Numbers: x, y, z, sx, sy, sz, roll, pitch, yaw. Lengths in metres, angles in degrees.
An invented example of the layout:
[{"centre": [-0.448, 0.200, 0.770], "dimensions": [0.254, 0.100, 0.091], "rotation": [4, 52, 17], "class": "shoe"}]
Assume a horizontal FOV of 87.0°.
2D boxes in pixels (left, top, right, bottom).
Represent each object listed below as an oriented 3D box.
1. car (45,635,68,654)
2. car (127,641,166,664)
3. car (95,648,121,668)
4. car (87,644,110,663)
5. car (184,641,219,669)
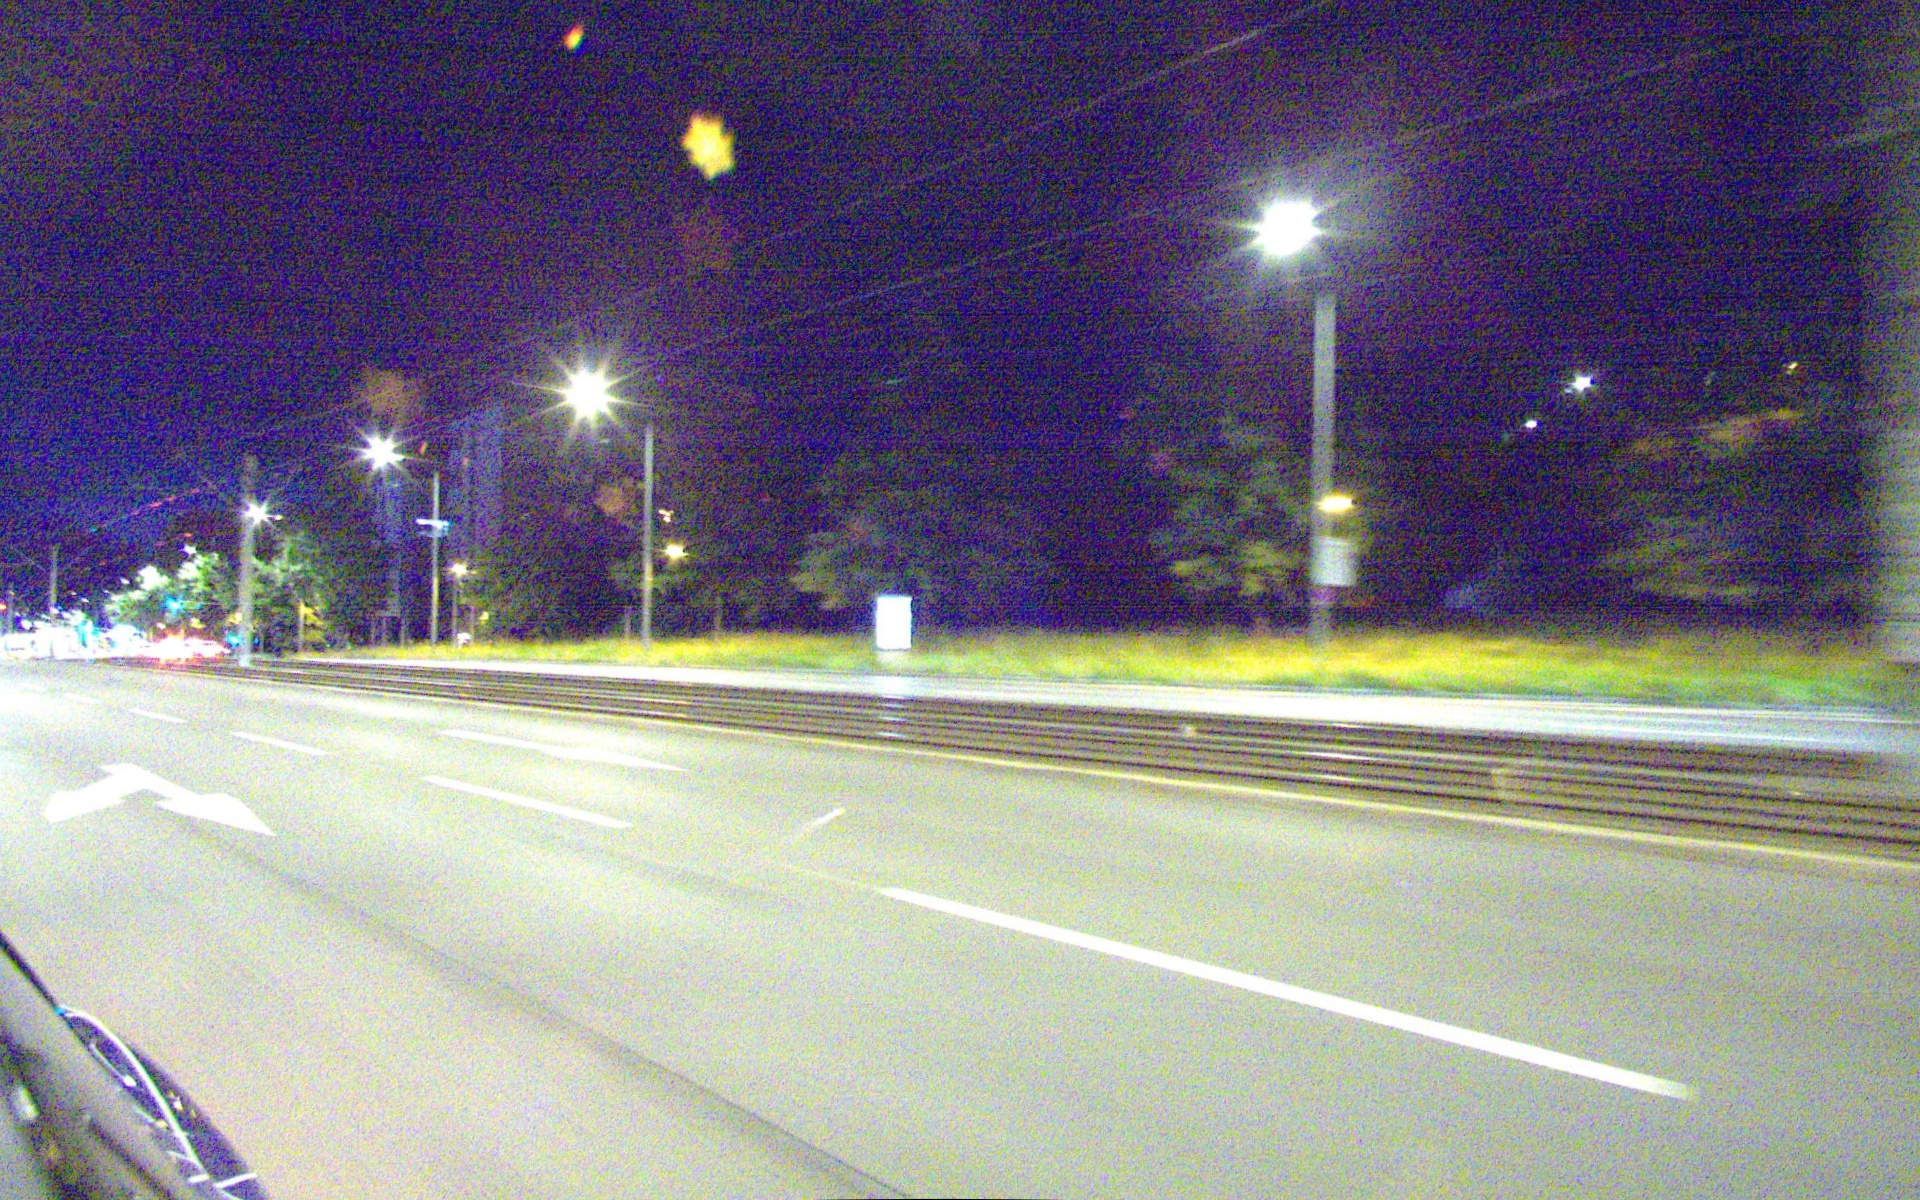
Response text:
[{"centre": [-103.032, 5.061, 115.409], "dimensions": [1.769, 1.921, 4.002], "rotation": [-1, 0, -45], "class": "car"}, {"centre": [-67.351, 4.350, 83.802], "dimensions": [3.997, 1.751, 1.772], "rotation": [-1, 0, 40], "class": "car"}, {"centre": [-86.351, 5.817, 102.552], "dimensions": [1.769, 1.803, 4.002], "rotation": [-1, 0, -45], "class": "car"}, {"centre": [-100.761, 6.220, 118.350], "dimensions": [1.769, 2.029, 4.002], "rotation": [-1, 0, -45], "class": "car"}, {"centre": [-60.682, 4.397, 80.954], "dimensions": [2.030, 2.029, 4.006], "rotation": [-1, 0, -40], "class": "car"}]
